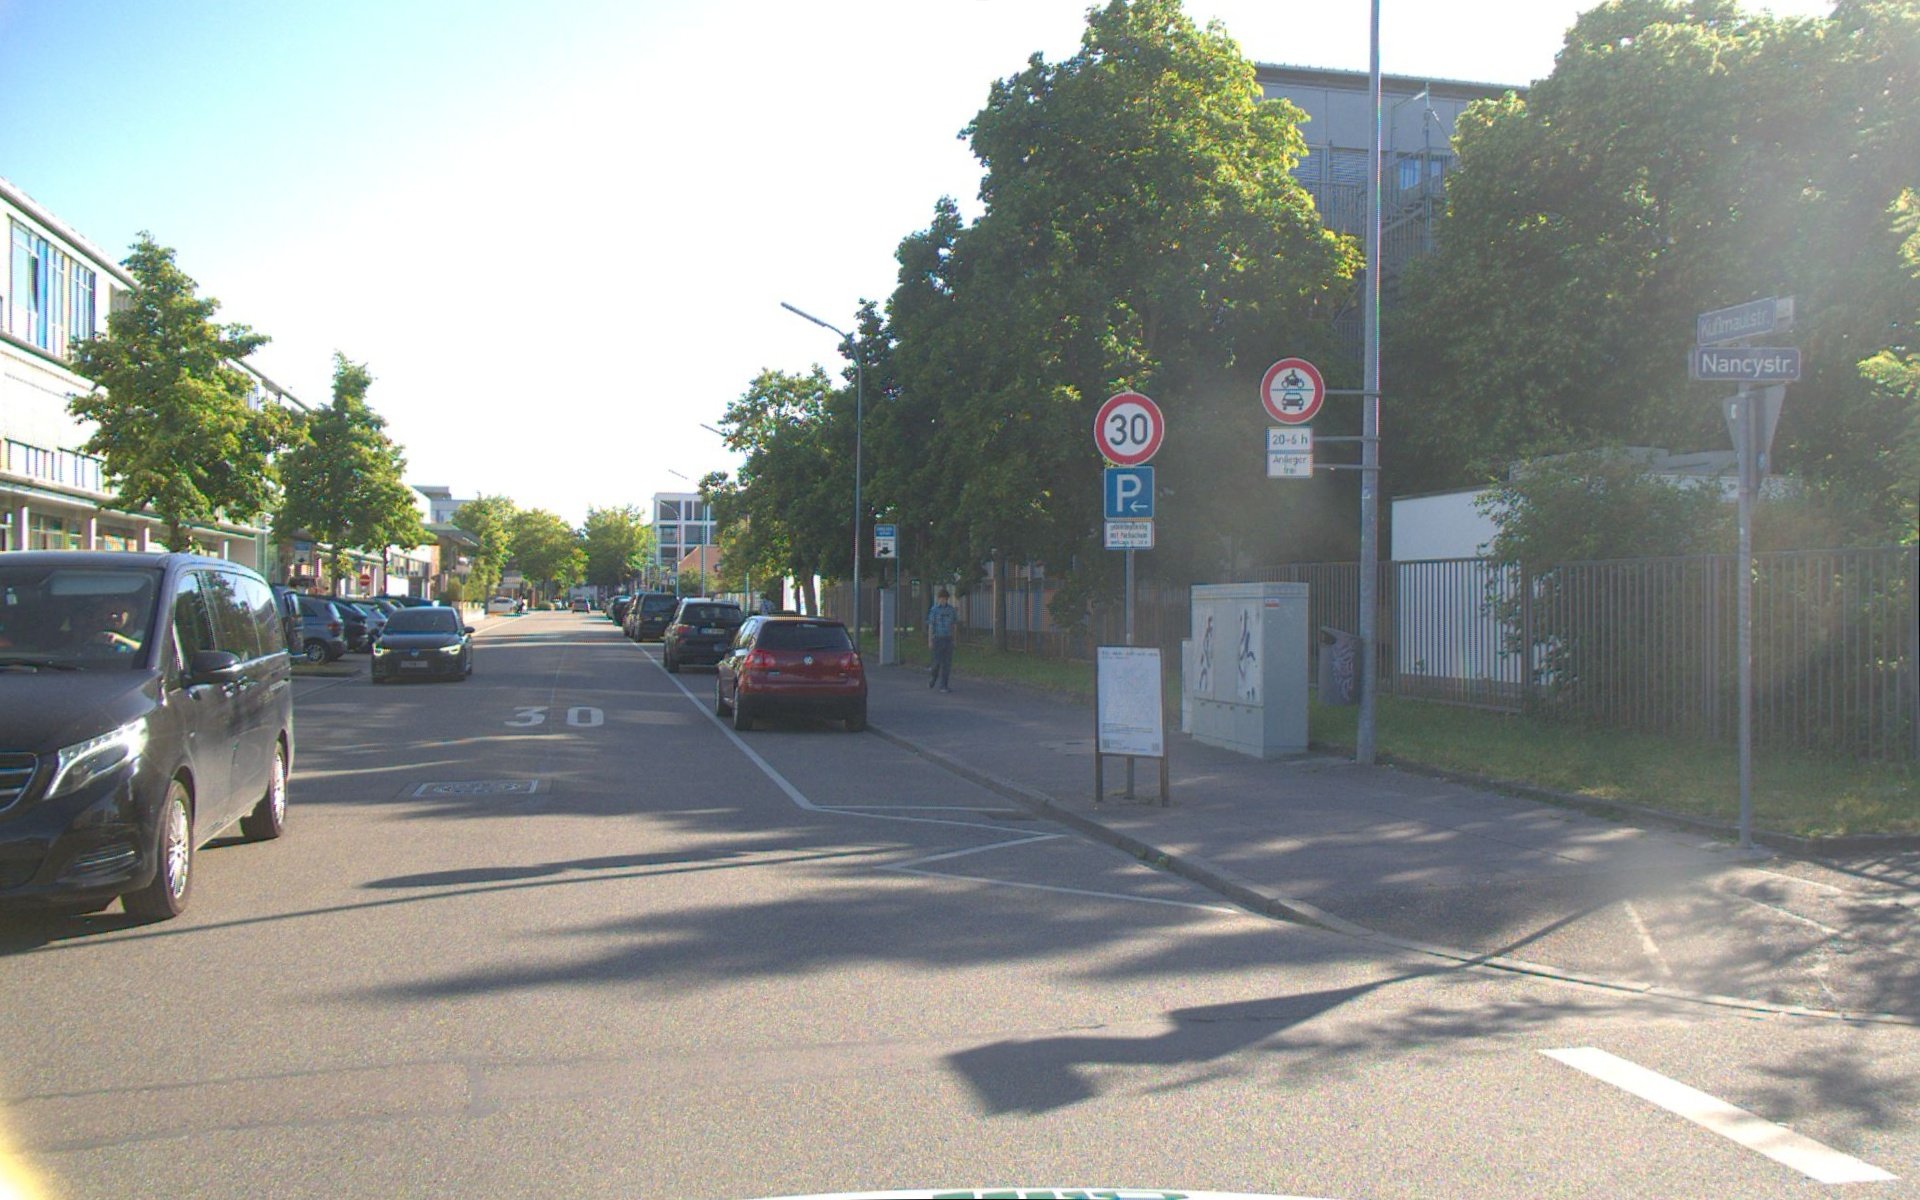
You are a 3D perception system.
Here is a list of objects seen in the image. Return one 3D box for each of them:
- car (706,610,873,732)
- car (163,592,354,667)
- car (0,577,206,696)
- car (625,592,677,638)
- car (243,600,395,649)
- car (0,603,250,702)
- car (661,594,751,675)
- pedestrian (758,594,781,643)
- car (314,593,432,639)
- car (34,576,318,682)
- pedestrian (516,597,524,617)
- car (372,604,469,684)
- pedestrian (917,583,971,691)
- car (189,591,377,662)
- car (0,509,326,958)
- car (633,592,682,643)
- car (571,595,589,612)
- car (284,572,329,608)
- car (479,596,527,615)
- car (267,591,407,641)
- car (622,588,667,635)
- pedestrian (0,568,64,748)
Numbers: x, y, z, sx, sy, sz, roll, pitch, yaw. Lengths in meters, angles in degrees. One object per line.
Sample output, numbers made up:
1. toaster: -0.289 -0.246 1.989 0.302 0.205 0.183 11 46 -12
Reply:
1. car: -2.475 0.916 23.014 1.690 1.480 4.635 2 0 -14
2. car: -16.565 0.704 39.249 3.923 1.635 1.863 2 -1 -17
3. car: -13.726 0.524 24.219 4.528 1.680 1.863 1 -1 -10
4. car: -12.916 0.601 68.929 1.959 1.854 4.184 -1 0 -13
5. car: -18.433 0.699 47.721 3.924 1.382 1.735 0 0 -17
6. car: -14.077 0.834 26.888 4.357 1.527 1.821 1 -1 -13
7. car: -5.981 0.753 38.613 1.780 1.695 4.579 2 0 -12
8. pedestrian: -6.720 0.646 58.353 0.686 1.690 0.749 -2 0 -14
9. car: -22.708 0.626 64.153 4.147 1.631 1.863 2 -1 -17
10. car: -15.231 0.568 32.400 4.660 1.897 1.821 2 0 -13
11. pedestrian: -36.809 0.609 138.471 0.608 1.652 0.713 -1 0 -13
12. car: -10.865 0.834 33.485 1.676 1.476 4.068 -1 0 -16
13. pedestrian: -0.276 0.616 28.350 0.705 1.788 0.882 -2 0 -13
14. car: -17.148 0.667 42.137 4.179 1.640 2.038 2 -1 -17
15. car: -5.077 0.612 9.504 1.922 1.900 5.236 -2 0 -13
16. car: -11.530 0.637 62.864 1.703 1.862 3.892 0 0 -13
17. car: -36.924 0.360 160.789 1.713 1.570 3.986 1 0 -13
18. car: -39.444 -0.589 99.891 1.959 2.049 3.986 1 -1 -13
19. car: -40.241 0.483 145.675 3.918 1.546 1.993 1 -1 -13
20. car: -20.452 0.521 54.465 4.147 1.488 1.863 2 -1 -17
21. car: -14.344 0.503 74.989 1.842 2.013 3.986 -1 0 -13
22. pedestrian: -10.209 0.601 17.665 0.842 1.874 0.823 2 -1 -12
